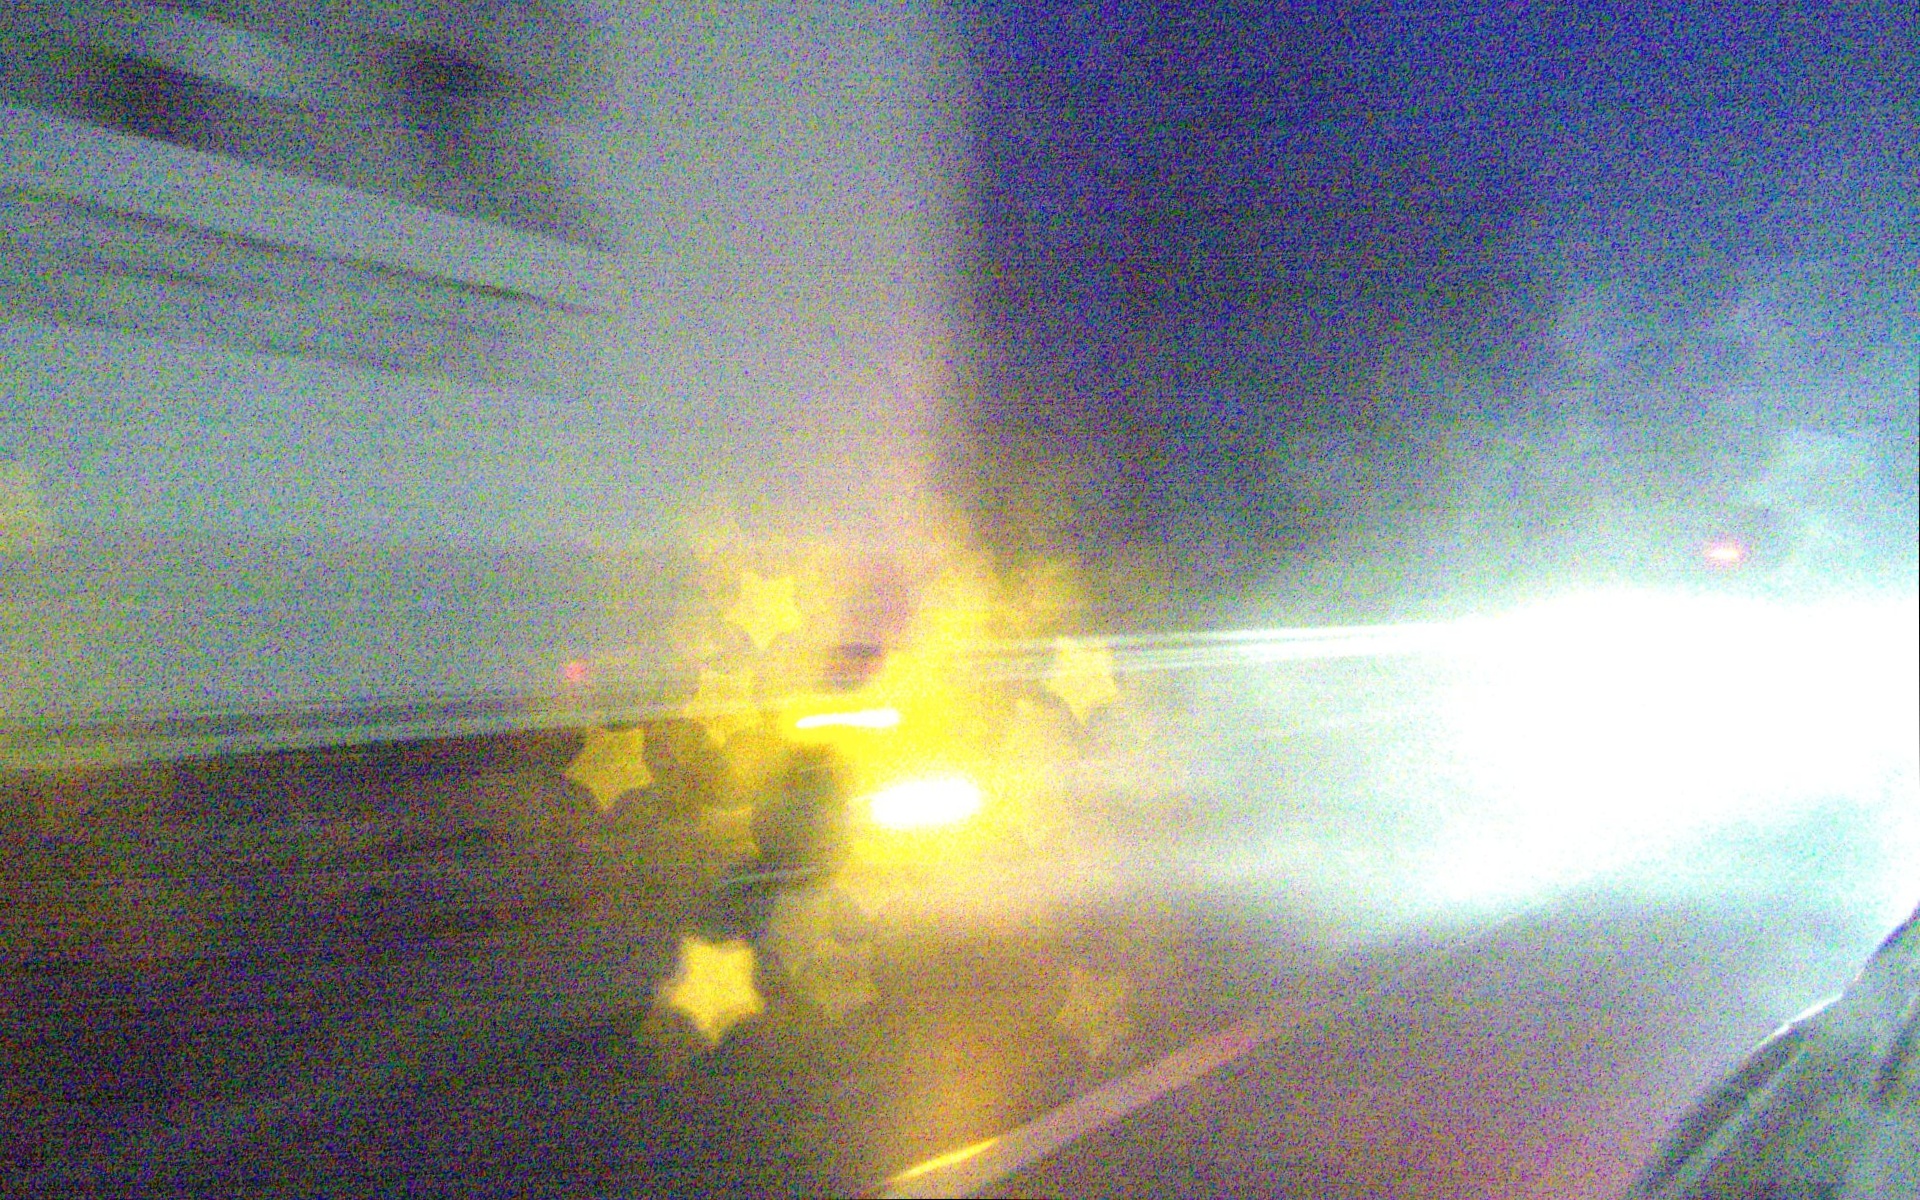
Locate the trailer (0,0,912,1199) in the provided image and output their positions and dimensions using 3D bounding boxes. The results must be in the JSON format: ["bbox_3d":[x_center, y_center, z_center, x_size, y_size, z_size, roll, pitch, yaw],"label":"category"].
[{"bbox_3d":[-6.009,-0.673,0.385,13.145,4.302,2.742,-2,-1,-42],"label":"trailer"}]
